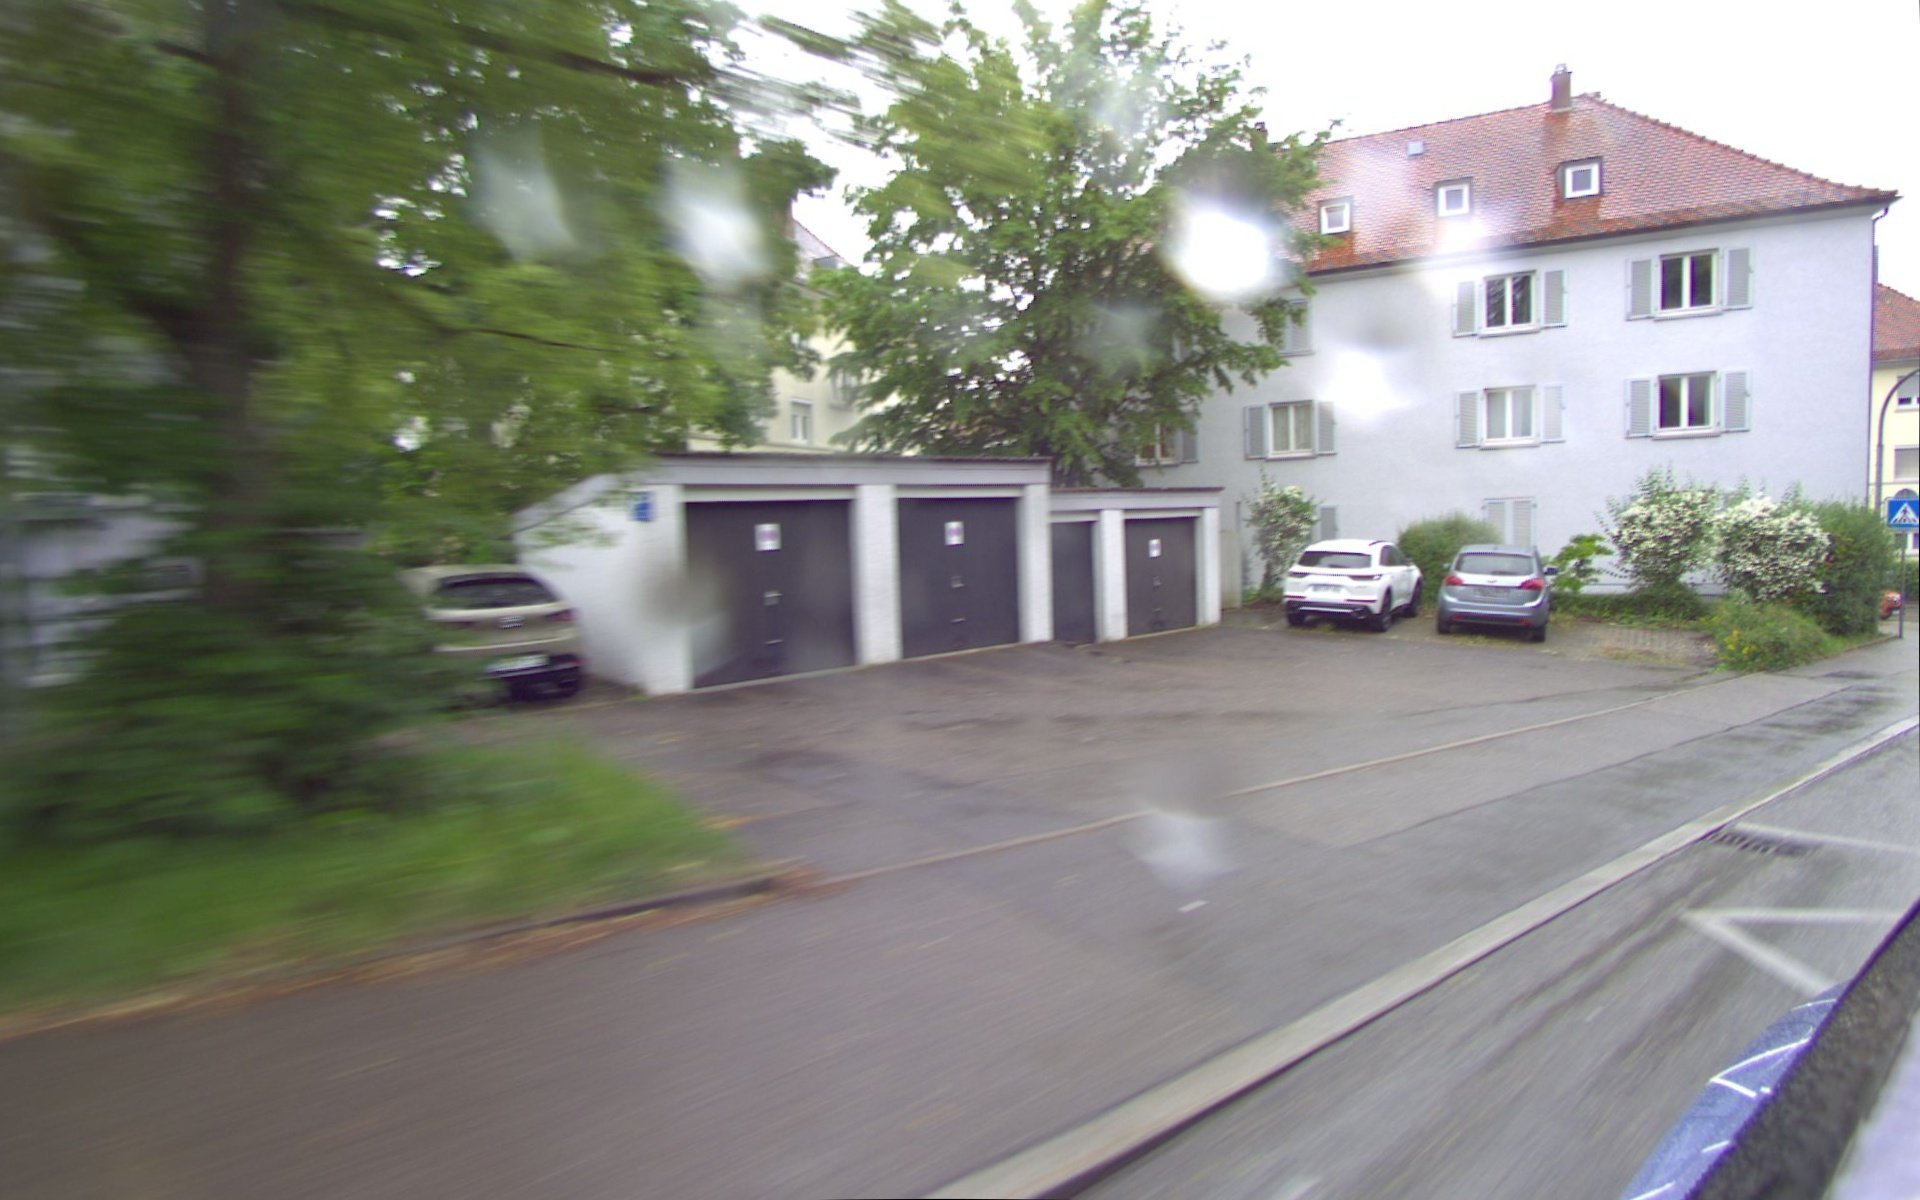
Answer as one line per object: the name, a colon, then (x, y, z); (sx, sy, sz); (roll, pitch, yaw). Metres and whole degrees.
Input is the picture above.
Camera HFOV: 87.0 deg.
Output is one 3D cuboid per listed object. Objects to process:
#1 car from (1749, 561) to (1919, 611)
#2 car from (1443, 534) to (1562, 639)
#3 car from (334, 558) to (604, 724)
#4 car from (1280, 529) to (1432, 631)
car: (27.293, -0.433, 31.455); (1.688, 1.425, 4.102); (-1, 1, -19)
car: (10.226, -0.350, 18.949); (1.711, 1.581, 3.757); (4, 7, 31)
car: (-5.555, 0.301, 11.239); (1.766, 1.448, 3.707); (-5, 5, -40)
car: (7.881, -0.495, 19.923); (1.786, 1.611, 4.206); (4, 7, 35)
